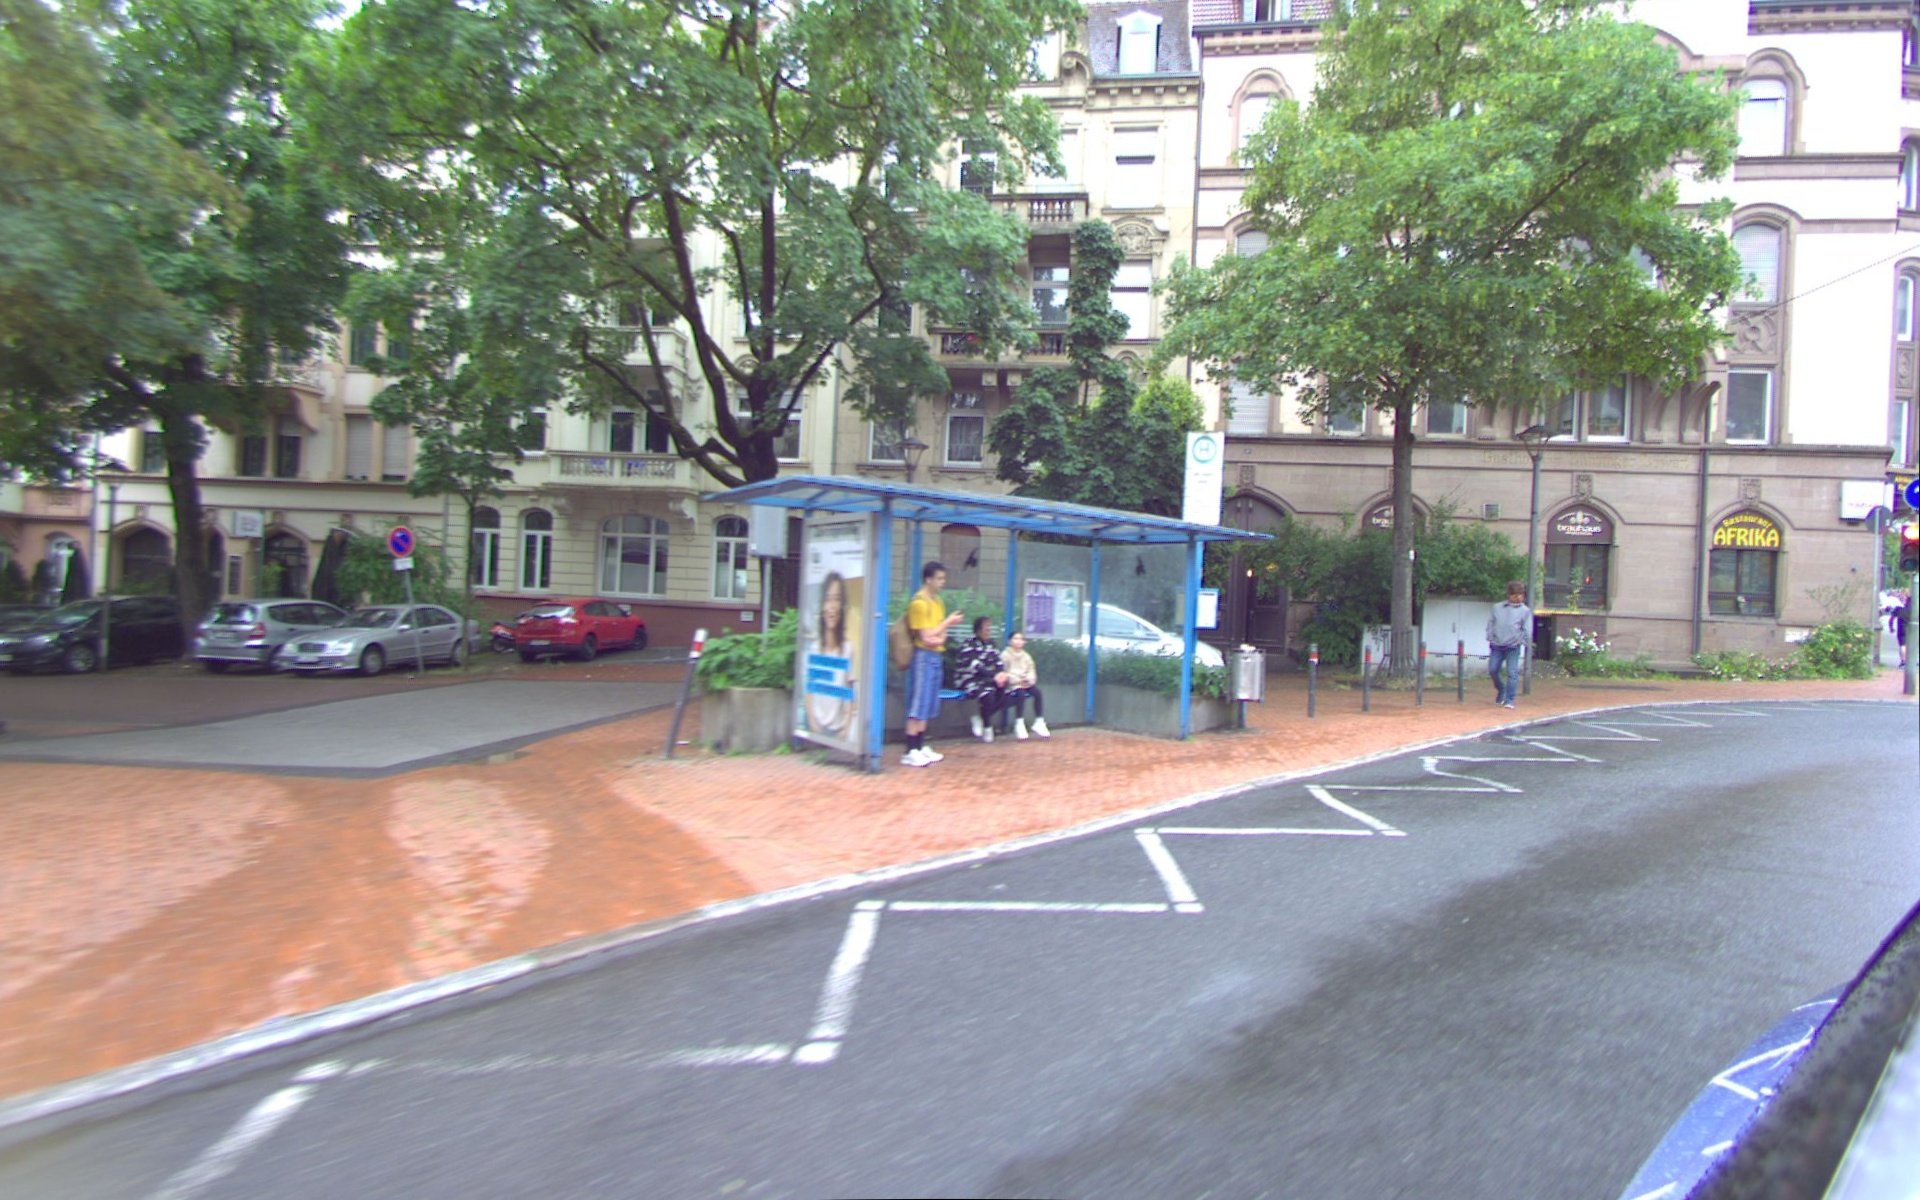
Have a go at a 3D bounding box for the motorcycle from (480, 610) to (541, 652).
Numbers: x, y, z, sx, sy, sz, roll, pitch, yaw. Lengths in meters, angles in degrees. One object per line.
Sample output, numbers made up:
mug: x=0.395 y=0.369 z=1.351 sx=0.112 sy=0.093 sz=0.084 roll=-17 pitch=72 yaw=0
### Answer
motorcycle: x=-11.684 y=0.786 z=26.338 sx=0.442 sy=0.933 sz=1.620 roll=0 pitch=4 yaw=19

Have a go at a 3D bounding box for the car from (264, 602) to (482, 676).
car: x=-12.275 y=0.753 z=21.546 sx=1.680 sy=1.414 sz=4.322 roll=0 pitch=0 yaw=9

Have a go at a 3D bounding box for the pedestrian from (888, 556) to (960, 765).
pedestrian: x=-0.329 y=0.520 z=9.062 sx=0.534 sy=1.798 sz=0.561 roll=0 pitch=-1 yaw=-14

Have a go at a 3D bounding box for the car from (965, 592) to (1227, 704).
car: x=1.989 y=0.710 z=15.101 sx=3.613 sy=1.522 sz=1.766 roll=-1 pitch=-2 yaw=9

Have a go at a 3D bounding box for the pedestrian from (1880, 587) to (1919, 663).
pedestrian: x=21.866 y=0.561 z=23.244 sx=0.815 sy=1.699 sz=0.894 roll=1 pitch=1 yaw=-35

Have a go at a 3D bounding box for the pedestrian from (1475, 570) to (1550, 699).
pedestrian: x=7.740 y=0.476 z=14.188 sx=0.716 sy=1.756 sz=0.574 roll=0 pitch=-1 yaw=-14

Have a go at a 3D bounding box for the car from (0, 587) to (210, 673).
car: x=-18.644 y=0.600 z=21.859 sx=1.653 sy=1.688 sz=3.770 roll=0 pitch=0 yaw=12

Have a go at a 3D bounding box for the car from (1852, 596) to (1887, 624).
car: x=62.629 y=0.658 z=69.728 sx=1.521 sy=1.636 sz=3.444 roll=7 pitch=6 yaw=39

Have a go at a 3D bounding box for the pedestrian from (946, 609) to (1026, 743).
pedestrian: x=0.261 y=0.740 z=10.217 sx=0.606 sy=1.296 sz=0.571 roll=1 pitch=-1 yaw=-31

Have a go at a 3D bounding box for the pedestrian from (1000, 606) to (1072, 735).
pedestrian: x=0.788 y=0.713 z=10.549 sx=0.524 sy=1.296 sz=0.571 roll=1 pitch=-1 yaw=-31

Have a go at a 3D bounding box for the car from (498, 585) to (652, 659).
car: x=-9.508 y=0.479 z=25.350 sx=1.846 sy=1.546 sz=3.991 roll=0 pitch=3 yaw=9

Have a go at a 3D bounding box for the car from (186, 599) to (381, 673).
car: x=-14.507 y=0.724 z=21.928 sx=1.564 sy=1.484 sz=3.491 roll=0 pitch=0 yaw=9

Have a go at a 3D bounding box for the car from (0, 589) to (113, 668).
car: x=-21.257 y=0.607 z=22.464 sx=1.564 sy=1.688 sz=3.642 roll=0 pitch=0 yaw=9
